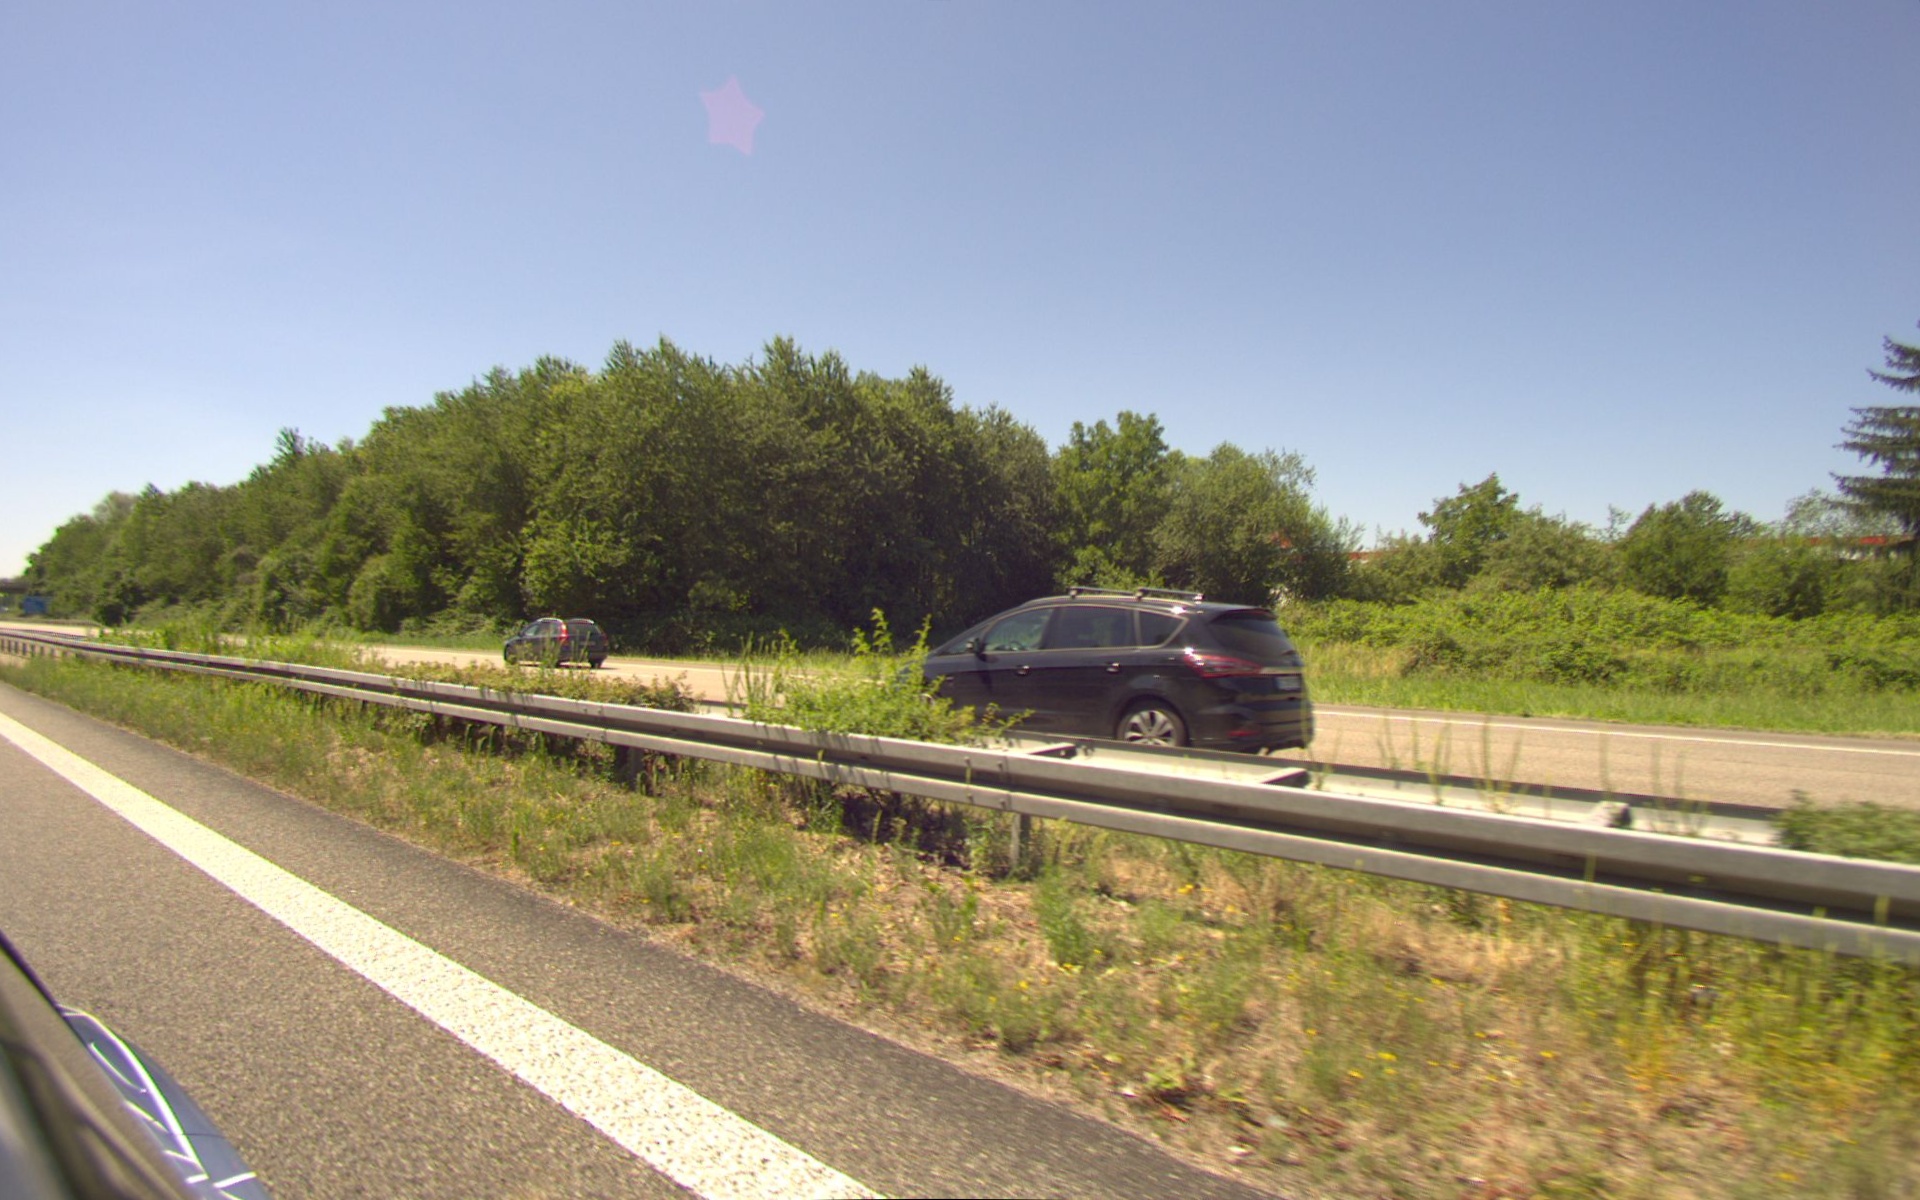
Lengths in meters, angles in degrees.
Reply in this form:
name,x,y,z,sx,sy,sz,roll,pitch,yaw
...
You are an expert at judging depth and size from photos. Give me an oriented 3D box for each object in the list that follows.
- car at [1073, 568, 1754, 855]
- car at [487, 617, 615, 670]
name,x,y,z,sx,sy,sz,roll,pitch,yaw
car,3.502,0.716,8.454,4.867,1.736,1.903,-1,-2,40
car,-12.926,1.326,31.853,4.675,1.544,1.781,-1,-1,40
